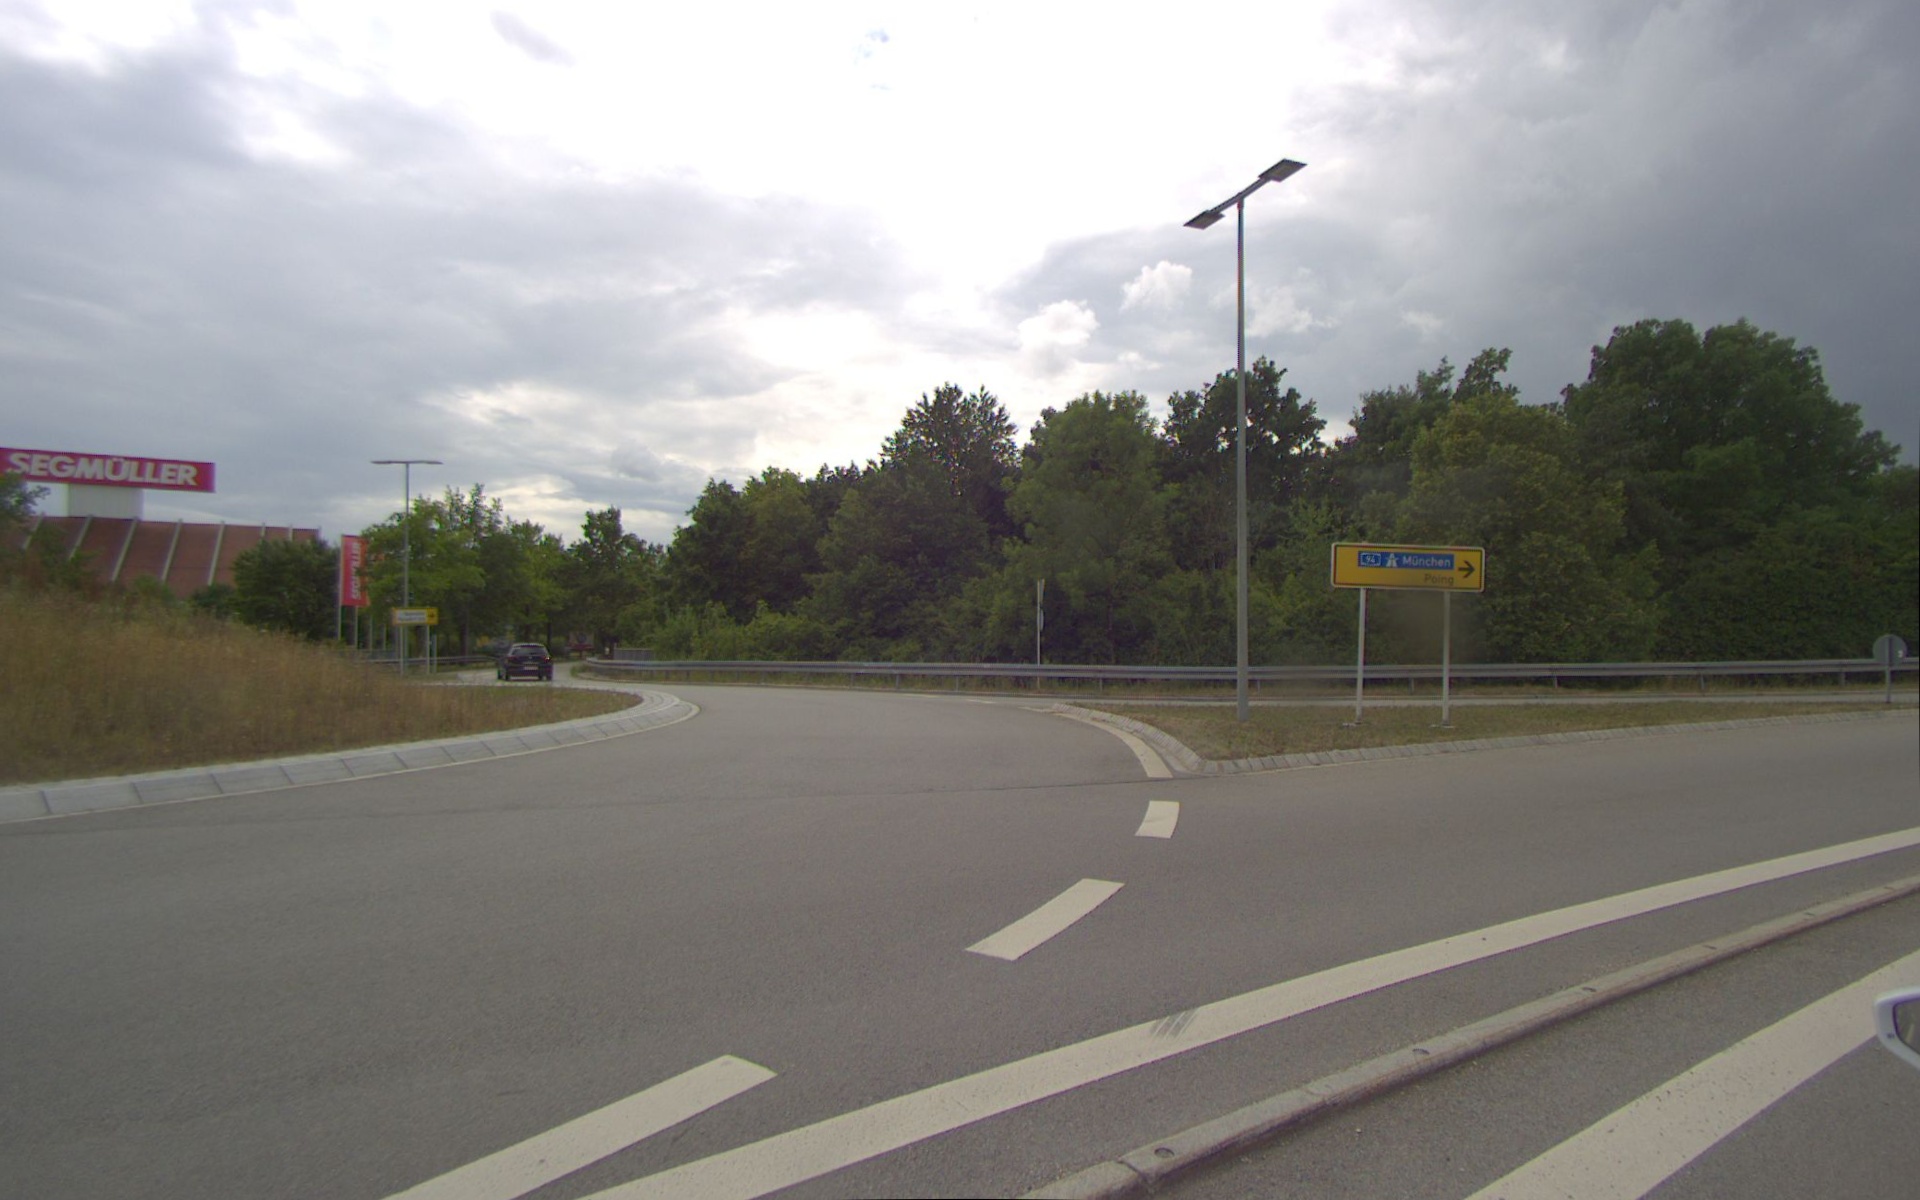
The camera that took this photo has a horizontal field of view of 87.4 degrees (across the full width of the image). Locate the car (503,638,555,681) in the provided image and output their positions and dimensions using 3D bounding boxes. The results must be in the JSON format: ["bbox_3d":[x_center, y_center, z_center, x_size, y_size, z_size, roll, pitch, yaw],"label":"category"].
[{"bbox_3d":[-16.709,2.254,38.890,1.545,1.529,3.287,1,-2,-29],"label":"car"}]
